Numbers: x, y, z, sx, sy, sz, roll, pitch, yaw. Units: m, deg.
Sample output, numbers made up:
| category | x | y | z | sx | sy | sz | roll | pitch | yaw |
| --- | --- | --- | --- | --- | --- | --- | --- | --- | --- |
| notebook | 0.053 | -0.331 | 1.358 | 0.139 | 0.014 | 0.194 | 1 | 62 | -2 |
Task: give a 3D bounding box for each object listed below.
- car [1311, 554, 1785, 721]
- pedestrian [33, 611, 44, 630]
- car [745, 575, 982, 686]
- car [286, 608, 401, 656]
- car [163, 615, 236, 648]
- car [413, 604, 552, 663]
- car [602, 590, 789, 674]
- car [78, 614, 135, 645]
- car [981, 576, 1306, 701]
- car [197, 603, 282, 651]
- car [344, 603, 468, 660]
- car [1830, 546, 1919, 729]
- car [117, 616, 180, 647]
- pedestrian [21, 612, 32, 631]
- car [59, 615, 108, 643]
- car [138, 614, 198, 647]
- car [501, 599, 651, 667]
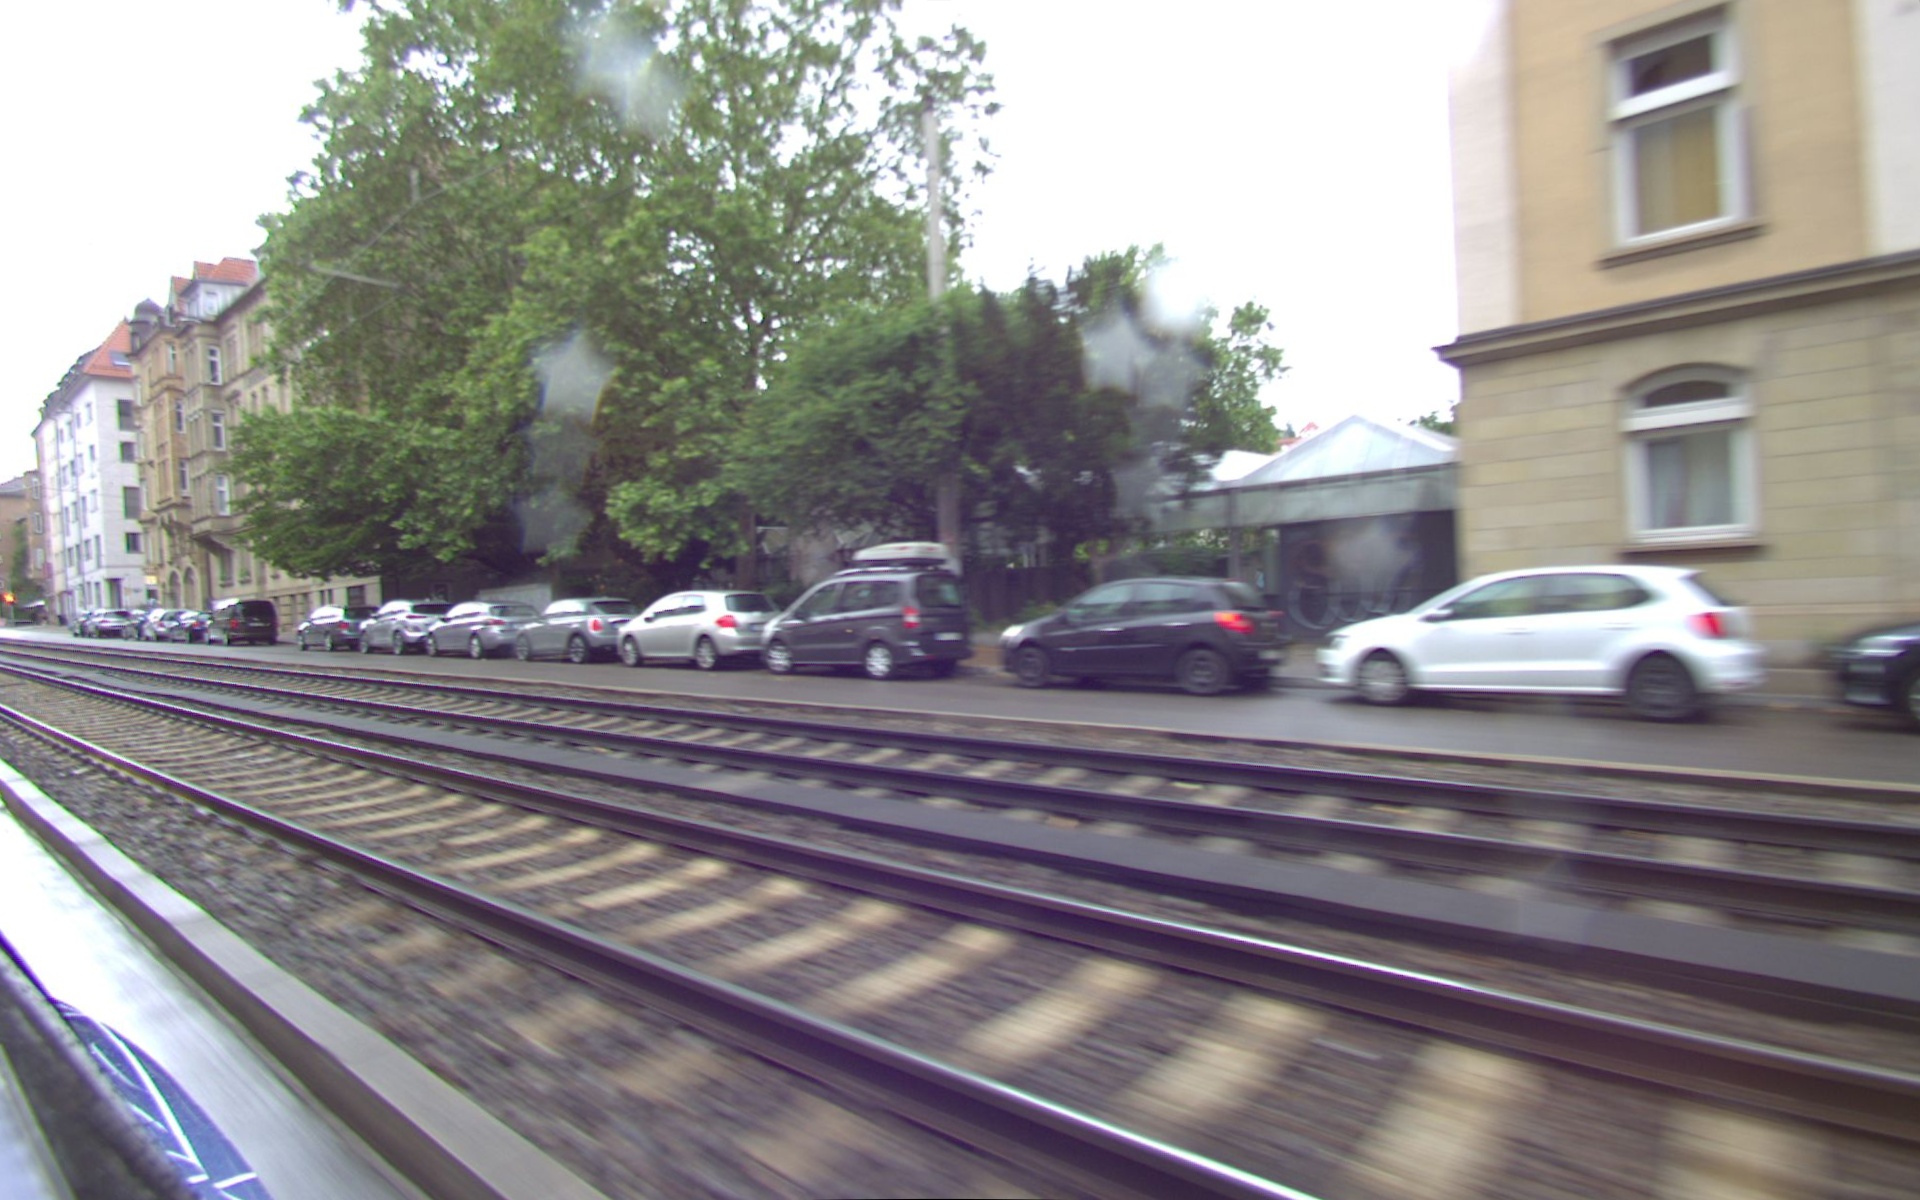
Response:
| category | x | y | z | sx | sy | sz | roll | pitch | yaw |
| --- | --- | --- | --- | --- | --- | --- | --- | --- | --- |
| car | 5.861 | 0.354 | 10.405 | 3.986 | 1.401 | 1.484 | -1 | -2 | 42 |
| pedestrian | -85.985 | 1.914 | 94.423 | 0.658 | 1.731 | 0.595 | -1 | 3 | 44 |
| car | -1.704 | 0.493 | 16.936 | 4.069 | 1.655 | 1.560 | -1 | -1 | 40 |
| car | -20.258 | 1.034 | 33.175 | 4.546 | 1.475 | 1.831 | -1 | -1 | 39 |
| car | -34.582 | 1.398 | 45.961 | 4.266 | 1.409 | 1.744 | -1 | -1 | 40 |
| car | -12.542 | 0.859 | 26.484 | 4.150 | 1.424 | 1.736 | -1 | -1 | 40 |
| car | -5.326 | 0.614 | 20.094 | 4.151 | 1.517 | 1.523 | -1 | -1 | 40 |
| car | -50.476 | 1.724 | 59.804 | 4.312 | 1.665 | 1.840 | -1 | 0 | 40 |
| car | 2.333 | 0.484 | 13.531 | 4.009 | 1.424 | 1.657 | -1 | -2 | 42 |
| car | -29.563 | 1.086 | 41.469 | 4.816 | 1.860 | 1.782 | -1 | -1 | 41 |
| car | -16.311 | 0.898 | 29.716 | 4.540 | 1.548 | 1.736 | -1 | -1 | 41 |
| car | 9.121 | 0.246 | 7.617 | 3.850 | 1.440 | 1.598 | -2 | -1 | 41 |
| car | -42.791 | 1.627 | 53.336 | 4.167 | 1.519 | 1.851 | -1 | 0 | 41 |
| pedestrian | -86.416 | 1.971 | 93.722 | 0.746 | 1.731 | 0.595 | -1 | 3 | 44 |
| car | -54.399 | 1.784 | 62.794 | 4.429 | 1.614 | 1.838 | -1 | 0 | 43 |
| car | -38.891 | 1.495 | 49.677 | 3.853 | 1.535 | 1.677 | -1 | -1 | 42 |
| car | -8.856 | 0.744 | 23.225 | 3.950 | 1.424 | 1.523 | -1 | -1 | 40 |
